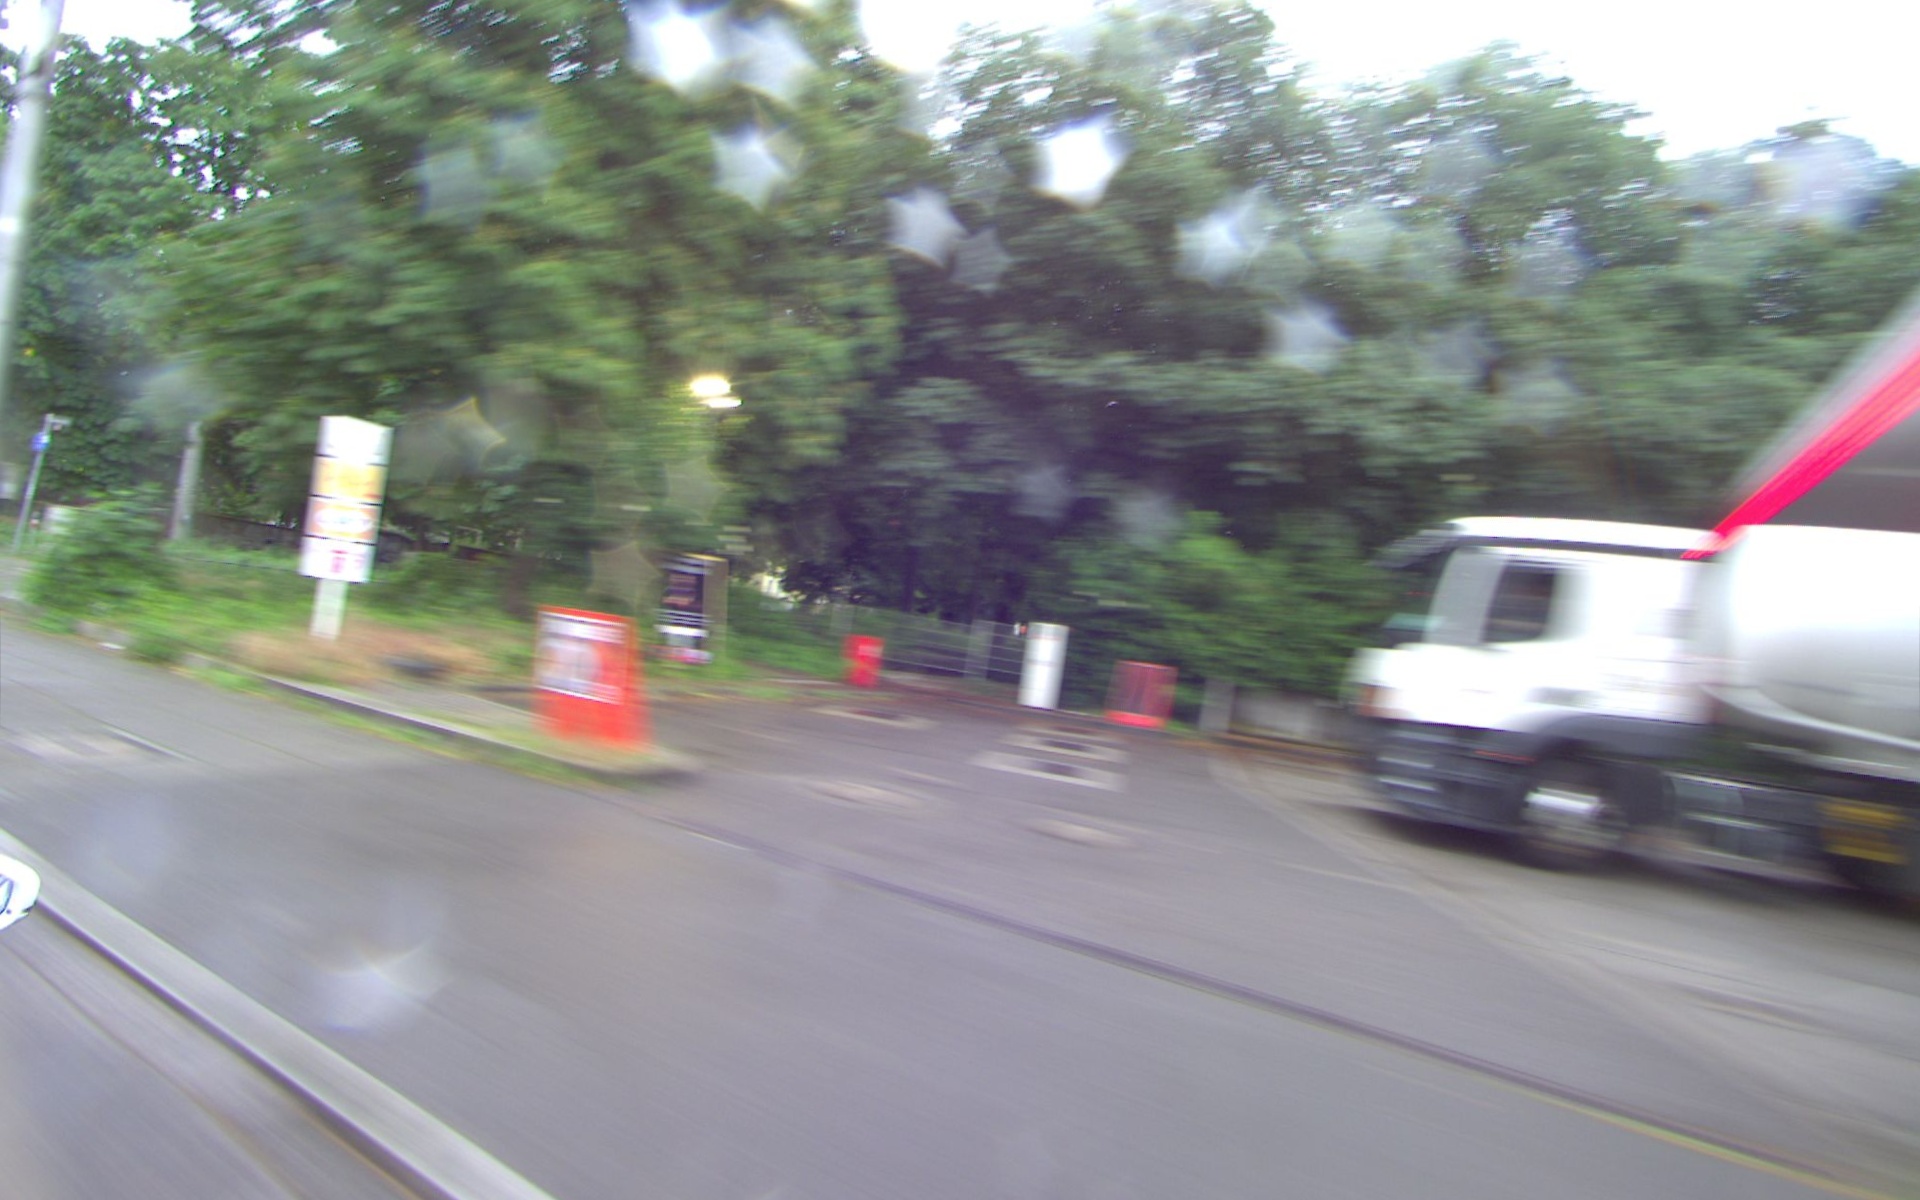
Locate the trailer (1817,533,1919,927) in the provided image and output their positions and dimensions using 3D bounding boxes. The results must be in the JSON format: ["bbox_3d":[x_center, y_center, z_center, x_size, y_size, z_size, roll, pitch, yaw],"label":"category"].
[{"bbox_3d":[12.956,1.593,7.224,9.660,3.436,2.813,7,-1,25],"label":"trailer"}]

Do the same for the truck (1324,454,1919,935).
[{"bbox_3d":[7.010,0.863,9.555,6.008,3.441,2.839,7,0,13],"label":"truck"}]
